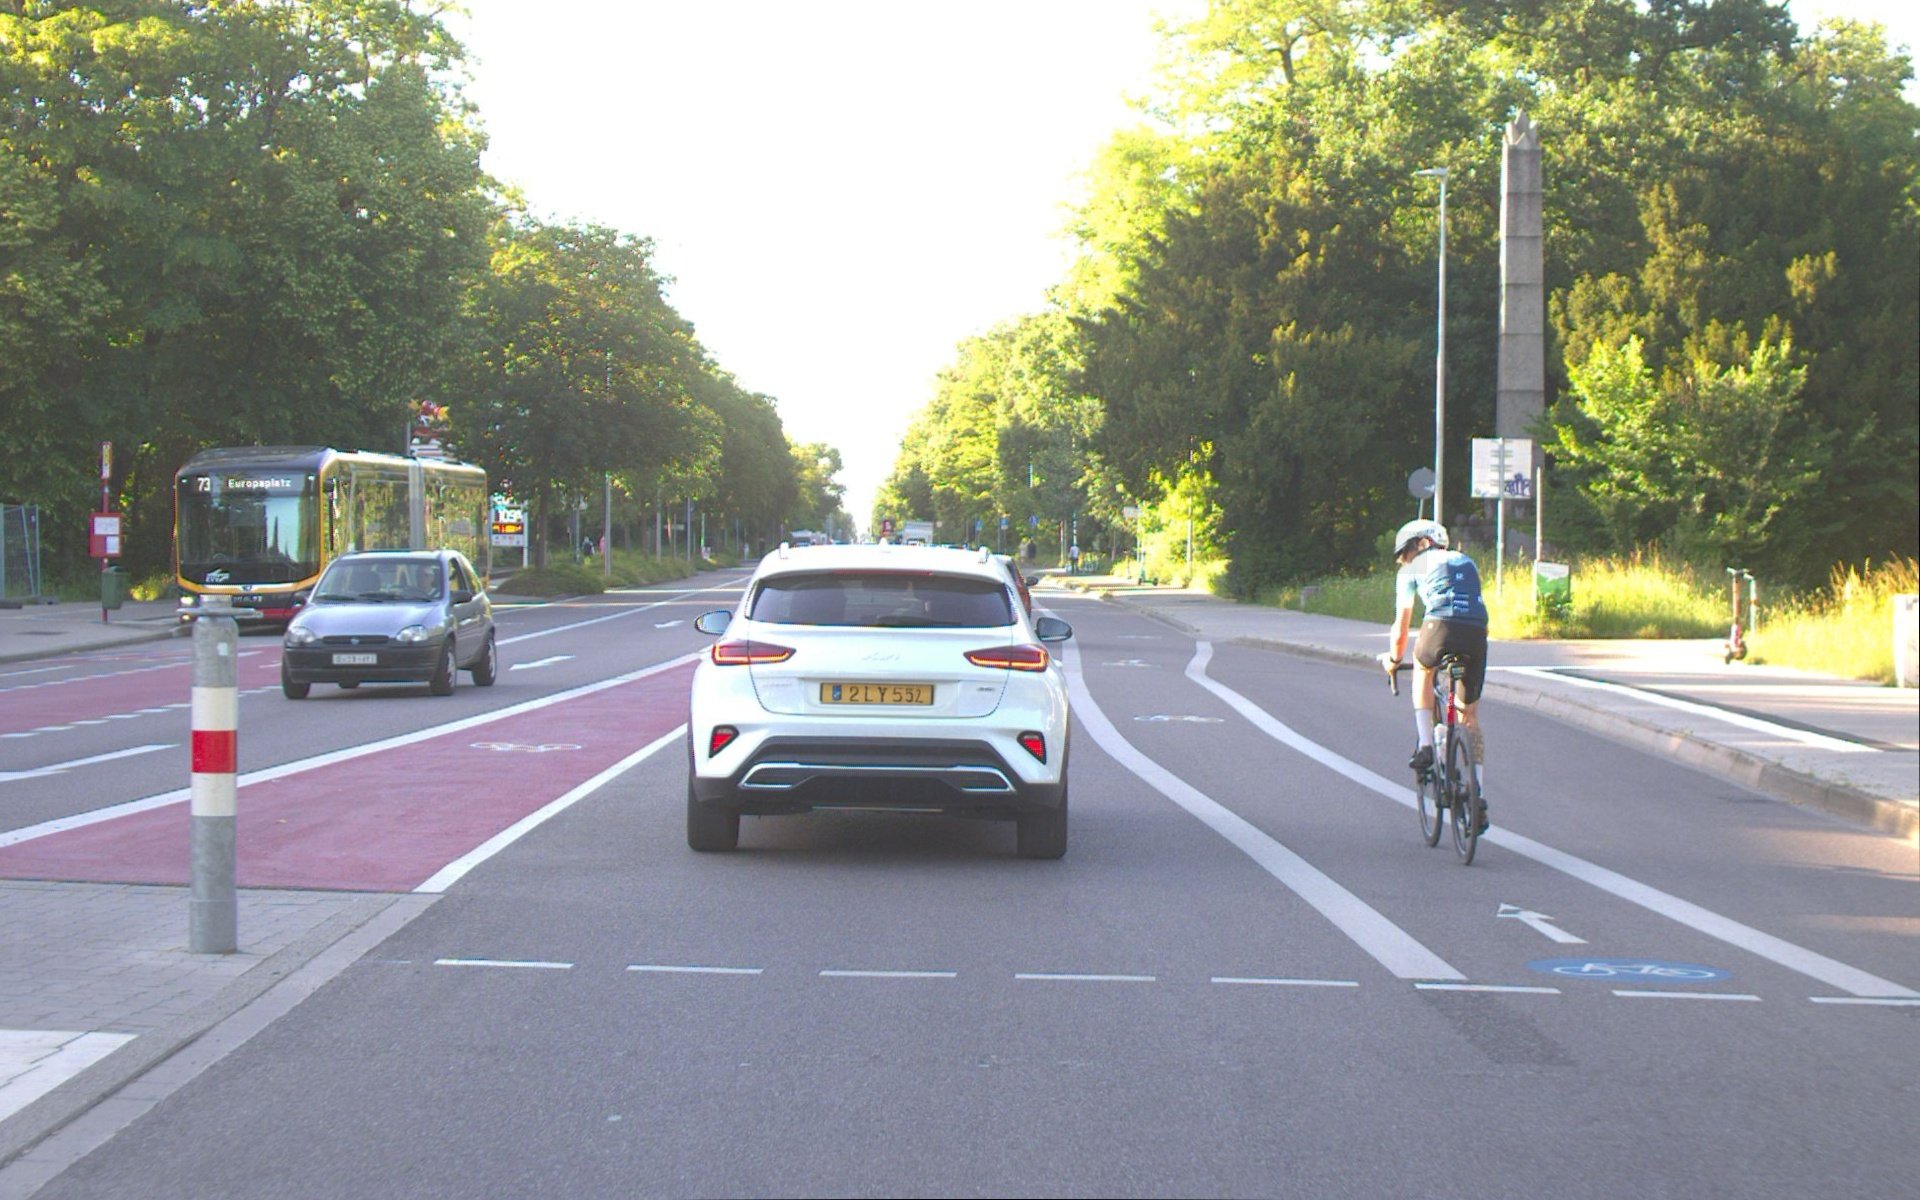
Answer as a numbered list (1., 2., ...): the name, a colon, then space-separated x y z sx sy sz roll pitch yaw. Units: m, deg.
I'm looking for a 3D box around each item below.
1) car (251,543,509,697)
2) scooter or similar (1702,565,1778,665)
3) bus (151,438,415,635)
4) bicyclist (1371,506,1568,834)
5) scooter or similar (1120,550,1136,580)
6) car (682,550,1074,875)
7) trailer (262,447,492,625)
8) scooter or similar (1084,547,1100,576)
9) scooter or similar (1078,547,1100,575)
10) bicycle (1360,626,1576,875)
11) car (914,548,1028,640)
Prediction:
1. car: -5.647 0.150 33.973 1.710 1.416 4.554 0 1 1
2. scooter or similar: 9.947 0.180 43.815 0.722 1.243 1.326 1 1 23
3. bus: -12.157 -1.148 62.564 2.840 3.186 8.599 3 1 1
4. bicyclist: 2.519 0.332 17.104 0.860 1.562 0.881 2 1 4
5. scooter or similar: 7.111 -1.477 145.520 0.533 1.245 1.541 0 1 -1
6. car: -0.523 0.488 17.497 1.761 1.454 3.818 1 1 -5
7. trailer: -11.981 -1.291 71.542 2.855 3.344 9.362 2 1 1
8. scooter or similar: 6.588 -1.919 171.283 0.682 1.418 1.682 0 1 -1
9. scooter or similar: 6.579 -1.987 175.234 0.682 1.418 1.682 0 1 -15
10. bicycle: 2.512 0.715 17.234 0.891 1.092 2.136 2 1 4
11. car: 0.203 -0.122 54.756 1.676 1.413 3.573 0 1 2
